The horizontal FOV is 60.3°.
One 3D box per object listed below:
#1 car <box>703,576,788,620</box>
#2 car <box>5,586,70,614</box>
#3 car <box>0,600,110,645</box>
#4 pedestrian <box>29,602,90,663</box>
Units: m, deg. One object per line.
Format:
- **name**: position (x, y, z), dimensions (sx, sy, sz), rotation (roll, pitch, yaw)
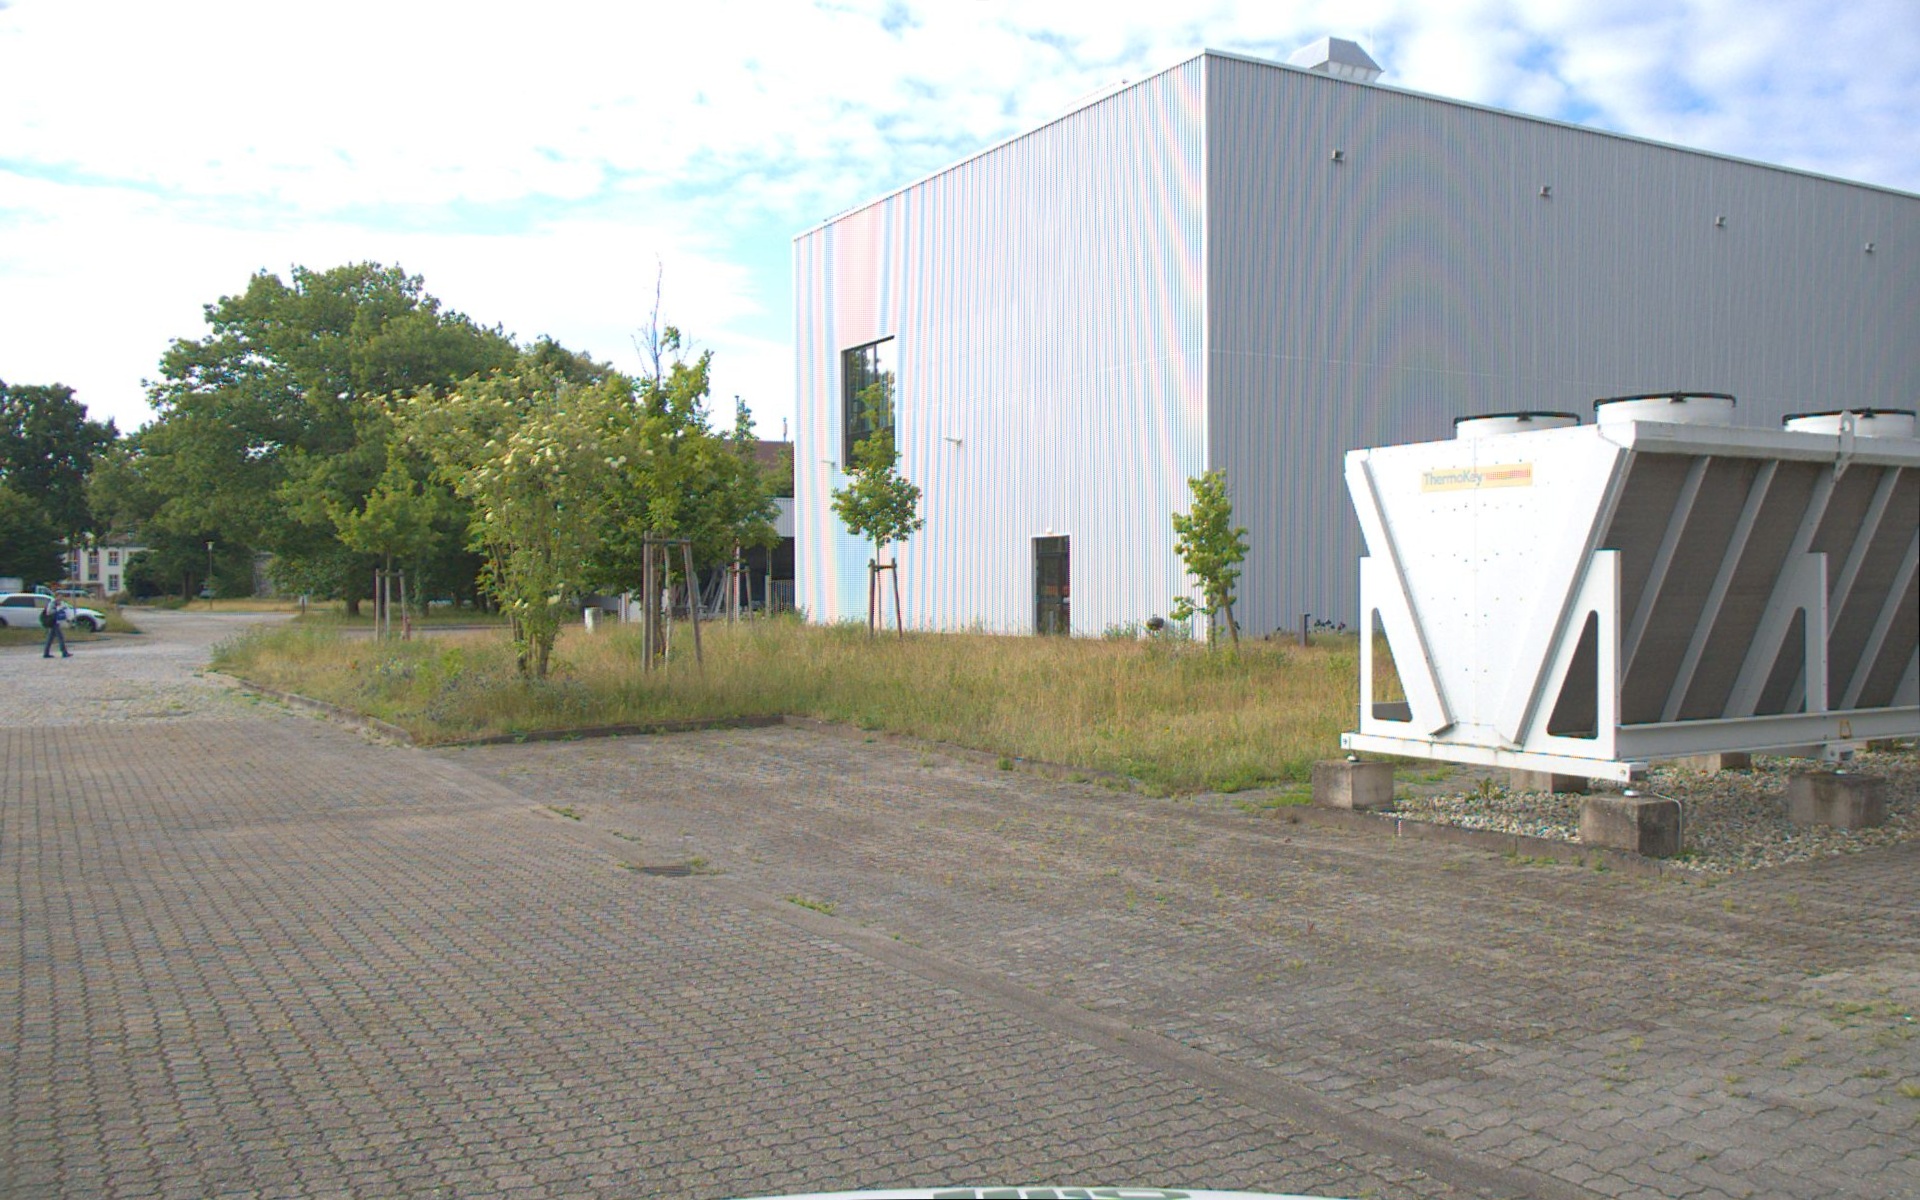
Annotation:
- **car**: position (-10.578, -0.092, 81.246), dimensions (2.218, 2.049, 5.281), rotation (-1, 0, -31)
- **car**: position (-84.382, -0.006, 151.308), dimensions (5.117, 2.378, 1.980), rotation (-1, 0, -31)
- **car**: position (-35.210, 0.847, 63.557), dimensions (4.482, 1.627, 1.982), rotation (-1, 0, -28)
- **pedestrian**: position (-23.984, 0.866, 44.068), dimensions (1.054, 1.583, 1.073), rotation (-1, 0, -6)
